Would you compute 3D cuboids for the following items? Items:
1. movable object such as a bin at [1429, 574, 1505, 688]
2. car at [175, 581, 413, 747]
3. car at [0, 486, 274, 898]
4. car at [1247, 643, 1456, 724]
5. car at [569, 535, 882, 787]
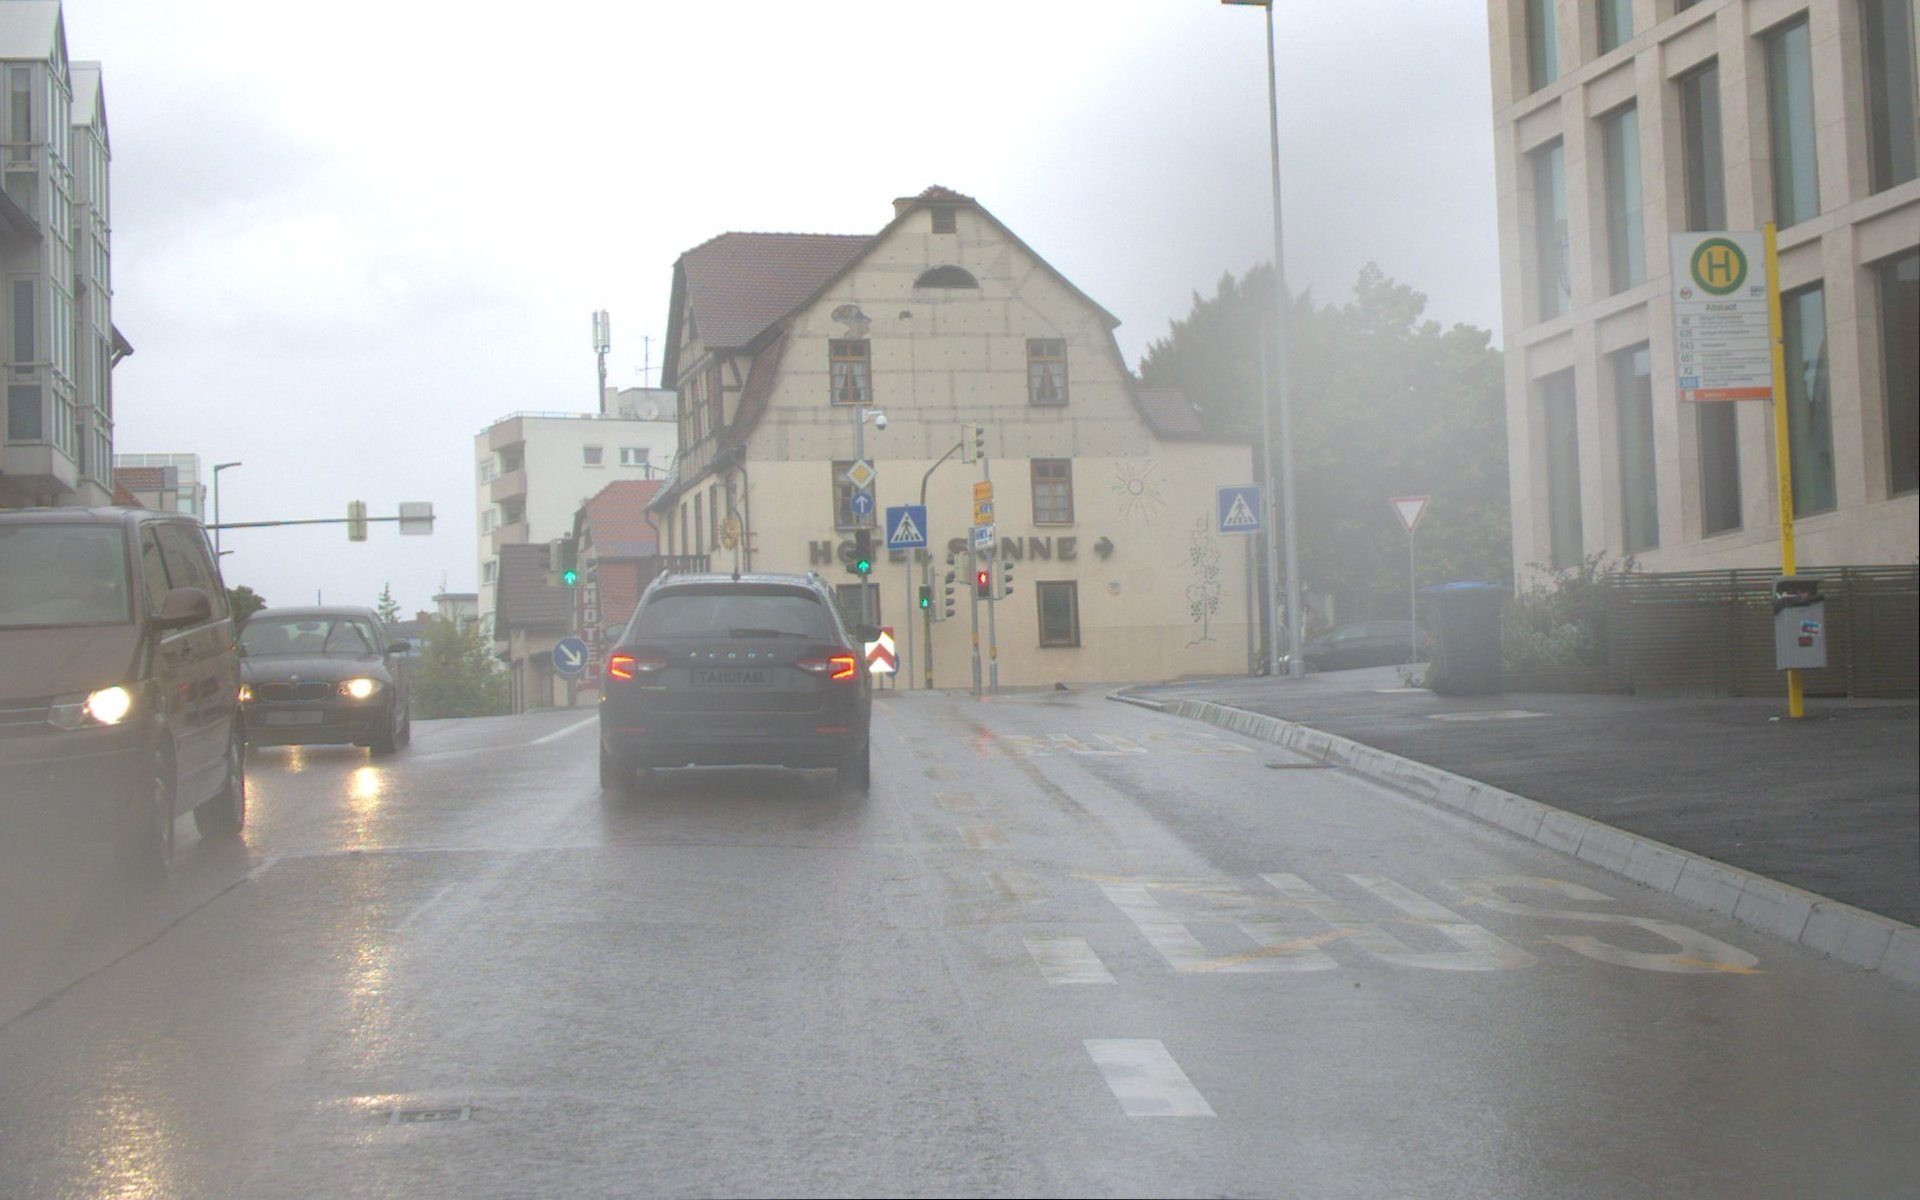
[{"bbox_3d":[4.810,0.290,32.655,0.595,1.058,0.579,-1,0,-1],"label":"movable object such as a bin"},{"bbox_3d":[-6.211,0.561,32.416,1.687,1.439,3.910,-1,0,-3],"label":"car"},{"bbox_3d":[-5.019,0.445,18.567,1.931,1.901,5.043,-2,0,-5],"label":"car"},{"bbox_3d":[8.974,1.909,78.828,4.300,1.500,1.778,-3,-5,-17],"label":"car"},{"bbox_3d":[-1.614,0.371,23.899,1.944,1.561,4.418,-1,0,-4],"label":"car"}]
